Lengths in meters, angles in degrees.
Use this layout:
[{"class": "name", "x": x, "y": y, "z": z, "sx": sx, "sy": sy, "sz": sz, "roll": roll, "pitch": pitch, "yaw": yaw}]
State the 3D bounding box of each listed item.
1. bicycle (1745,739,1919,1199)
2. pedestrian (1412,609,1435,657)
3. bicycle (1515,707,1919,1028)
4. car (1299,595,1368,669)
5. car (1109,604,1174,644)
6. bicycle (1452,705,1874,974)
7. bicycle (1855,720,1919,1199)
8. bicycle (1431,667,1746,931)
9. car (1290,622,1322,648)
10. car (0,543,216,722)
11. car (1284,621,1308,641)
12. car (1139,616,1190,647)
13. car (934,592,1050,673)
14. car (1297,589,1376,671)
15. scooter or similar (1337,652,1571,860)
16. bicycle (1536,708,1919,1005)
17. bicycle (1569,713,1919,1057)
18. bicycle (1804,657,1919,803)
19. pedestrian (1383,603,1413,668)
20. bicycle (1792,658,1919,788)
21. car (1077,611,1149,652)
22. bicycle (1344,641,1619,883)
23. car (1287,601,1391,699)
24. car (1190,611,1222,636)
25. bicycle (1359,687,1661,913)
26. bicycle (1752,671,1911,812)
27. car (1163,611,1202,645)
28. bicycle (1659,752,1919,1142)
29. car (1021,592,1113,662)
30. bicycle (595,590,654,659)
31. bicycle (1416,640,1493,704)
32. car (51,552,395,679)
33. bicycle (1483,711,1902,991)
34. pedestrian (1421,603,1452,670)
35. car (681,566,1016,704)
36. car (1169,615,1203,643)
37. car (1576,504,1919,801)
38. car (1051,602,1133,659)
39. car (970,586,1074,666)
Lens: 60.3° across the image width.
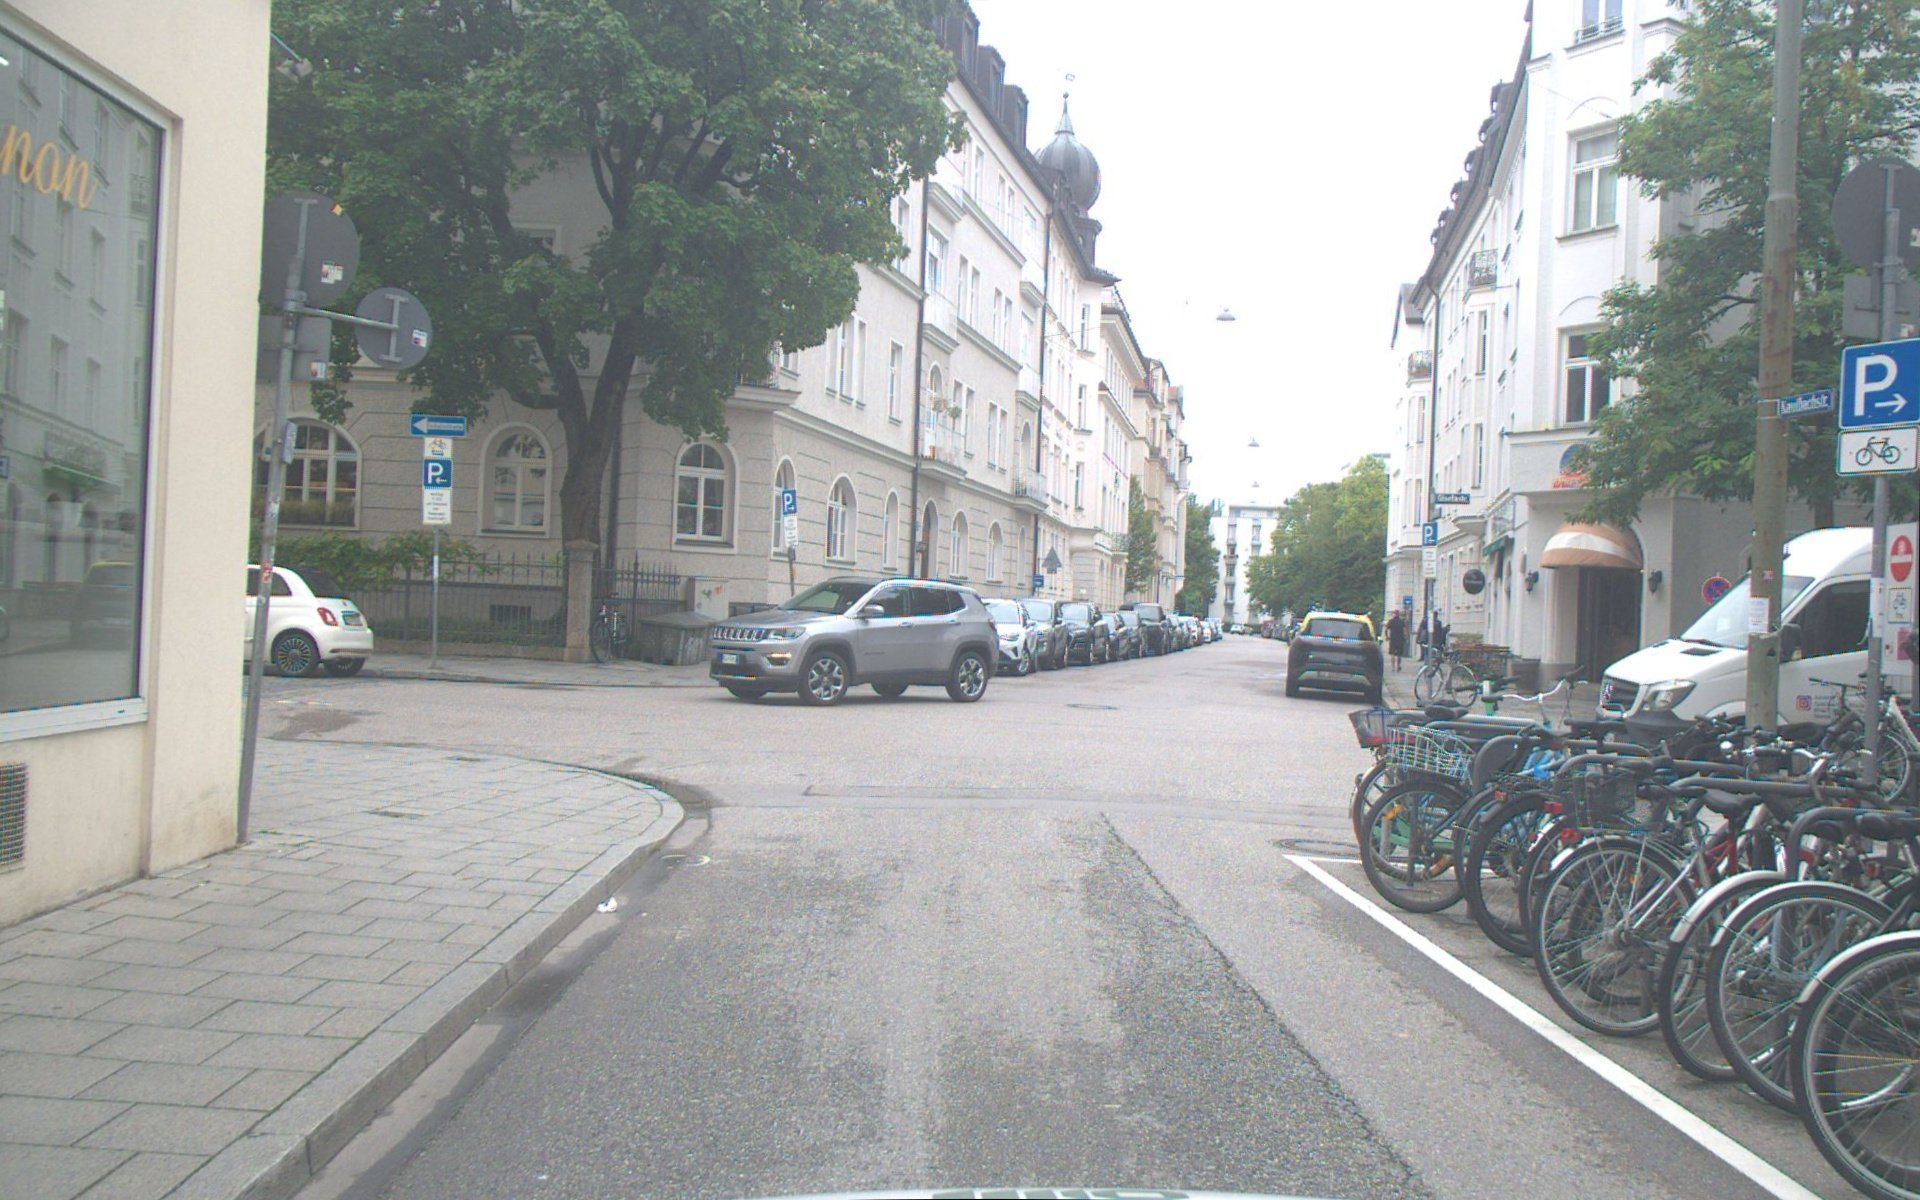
[{"class": "bicycle", "x": 3.115, "y": 0.980, "z": 4.410, "sx": 1.837, "sy": 1.114, "sz": 0.439, "roll": 2, "pitch": 1, "yaw": -5}, {"class": "pedestrian", "x": 18.517, "y": 1.307, "z": 66.086, "sx": 0.762, "sy": 1.883, "sz": 0.859, "roll": 2, "pitch": 0, "yaw": 20}, {"class": "bicycle", "x": 3.092, "y": 1.004, "z": 6.250, "sx": 1.837, "sy": 1.098, "sz": 0.408, "roll": 2, "pitch": 1, "yaw": -5}, {"class": "car", "x": 10.910, "y": 0.918, "z": 48.439, "sx": 1.782, "sy": 1.956, "sz": 4.187, "roll": 4, "pitch": 0, "yaw": 12}, {"class": "car", "x": 6.676, "y": 0.866, "z": 60.559, "sx": 1.866, "sy": 1.352, "sz": 4.003, "roll": 2, "pitch": 0, "yaw": 13}, {"class": "bicycle", "x": 3.164, "y": 1.071, "z": 7.491, "sx": 1.706, "sy": 1.098, "sz": 0.452, "roll": 2, "pitch": 1, "yaw": -5}, {"class": "bicycle", "x": 3.167, "y": 0.920, "z": 3.869, "sx": 1.856, "sy": 1.190, "sz": 0.565, "roll": 2, "pitch": 0, "yaw": -4}, {"class": "bicycle", "x": 3.136, "y": 0.990, "z": 8.274, "sx": 1.424, "sy": 1.228, "sz": 0.394, "roll": 3, "pitch": 0, "yaw": -9}, {"class": "car", "x": 20.990, "y": 2.114, "z": 100.425, "sx": 1.693, "sy": 1.442, "sz": 3.855, "roll": 2, "pitch": 0, "yaw": 10}, {"class": "car", "x": -10.136, "y": 0.229, "z": 16.804, "sx": 4.245, "sy": 1.541, "sz": 1.904, "roll": 3, "pitch": 4, "yaw": 1}, {"class": "car", "x": 29.450, "y": 2.681, "z": 145.183, "sx": 1.908, "sy": 1.681, "sz": 4.003, "roll": 1, "pitch": -1, "yaw": 10}, {"class": "car", "x": 8.947, "y": 1.366, "z": 72.175, "sx": 1.866, "sy": 1.243, "sz": 4.003, "roll": 2, "pitch": 0, "yaw": 11}, {"class": "car", "x": 0.742, "y": 0.650, "z": 34.668, "sx": 1.951, "sy": 1.499, "sz": 4.221, "roll": 2, "pitch": 0, "yaw": 7}, {"class": "car", "x": 9.829, "y": 0.769, "z": 43.301, "sx": 1.782, "sy": 1.903, "sz": 4.292, "roll": 4, "pitch": 0, "yaw": 12}, {"class": "scooter or similar", "x": 3.132, "y": 0.980, "z": 10.531, "sx": 1.325, "sy": 1.231, "sz": 0.417, "roll": 2, "pitch": 0, "yaw": 0}, {"class": "bicycle", "x": 3.197, "y": 1.029, "z": 6.692, "sx": 1.581, "sy": 1.098, "sz": 0.377, "roll": 2, "pitch": 1, "yaw": -5}, {"class": "bicycle", "x": 3.139, "y": 0.995, "z": 5.812, "sx": 1.837, "sy": 1.098, "sz": 0.402, "roll": 2, "pitch": 1, "yaw": -5}, {"class": "bicycle", "x": 8.155, "y": 1.102, "z": 13.808, "sx": 1.861, "sy": 1.147, "sz": 0.592, "roll": 2, "pitch": 0, "yaw": 3}, {"class": "pedestrian", "x": 12.953, "y": 1.044, "z": 48.921, "sx": 0.761, "sy": 1.883, "sz": 1.023, "roll": 2, "pitch": 0, "yaw": 13}, {"class": "bicycle", "x": 8.291, "y": 1.106, "z": 14.819, "sx": 1.472, "sy": 1.090, "sz": 0.370, "roll": 2, "pitch": 0, "yaw": -2}, {"class": "car", "x": 5.222, "y": 1.041, "z": 55.959, "sx": 1.866, "sy": 1.243, "sz": 4.003, "roll": 2, "pitch": 0, "yaw": 13}, {"class": "bicycle", "x": 3.053, "y": 0.937, "z": 9.732, "sx": 1.427, "sy": 1.307, "sz": 0.445, "roll": 3, "pitch": 0, "yaw": 0}, {"class": "car", "x": 7.498, "y": 0.949, "z": 32.869, "sx": 1.782, "sy": 1.664, "sz": 4.292, "roll": 4, "pitch": 0, "yaw": 12}, {"class": "car", "x": 16.394, "y": 1.552, "z": 110.098, "sx": 1.951, "sy": 1.601, "sz": 4.003, "roll": 2, "pitch": 0, "yaw": 9}, {"class": "bicycle", "x": 2.890, "y": 1.046, "z": 8.718, "sx": 1.424, "sy": 1.088, "sz": 0.462, "roll": 3, "pitch": 0, "yaw": -9}, {"class": "bicycle", "x": 7.587, "y": 1.222, "z": 14.415, "sx": 1.153, "sy": 1.147, "sz": 0.340, "roll": 2, "pitch": 0, "yaw": 5}, {"class": "car", "x": 11.245, "y": 1.383, "z": 83.535, "sx": 1.781, "sy": 1.601, "sz": 4.003, "roll": 2, "pitch": 0, "yaw": 9}, {"class": "bicycle", "x": 3.192, "y": 1.054, "z": 5.115, "sx": 1.837, "sy": 1.070, "sz": 0.563, "roll": 2, "pitch": -2, "yaw": -5}, {"class": "car", "x": 2.910, "y": 0.696, "z": 44.102, "sx": 1.951, "sy": 1.705, "sz": 4.292, "roll": 2, "pitch": 0, "yaw": 10}, {"class": "bicycle", "x": -5.700, "y": 0.400, "z": 28.138, "sx": 0.483, "sy": 1.070, "sz": 1.828, "roll": 2, "pitch": 2, "yaw": 4}, {"class": "bicycle", "x": 8.606, "y": 1.240, "z": 28.837, "sx": 0.529, "sy": 1.016, "sz": 1.751, "roll": -1, "pitch": 0, "yaw": -11}, {"class": "car", "x": -10.032, "y": 0.207, "z": 22.677, "sx": 3.903, "sy": 1.474, "sz": 1.686, "roll": 3, "pitch": 0, "yaw": 4}, {"class": "bicycle", "x": 3.119, "y": 1.067, "z": 7.075, "sx": 1.641, "sy": 1.098, "sz": 0.336, "roll": 2, "pitch": 1, "yaw": -5}, {"class": "pedestrian", "x": 13.898, "y": 1.057, "z": 48.287, "sx": 0.761, "sy": 1.883, "sz": 1.023, "roll": 2, "pitch": 0, "yaw": 13}, {"class": "car", "x": -1.393, "y": 0.457, "z": 22.047, "sx": 1.930, "sy": 1.636, "sz": 4.280, "roll": 2, "pitch": 0, "yaw": 43}, {"class": "car", "x": 12.238, "y": 1.551, "z": 89.417, "sx": 1.697, "sy": 1.444, "sz": 4.003, "roll": 2, "pitch": 0, "yaw": 9}, {"class": "car", "x": 9.360, "y": 0.528, "z": 16.227, "sx": 5.770, "sy": 2.636, "sz": 2.061, "roll": 2, "pitch": 1, "yaw": 3}, {"class": "car", "x": 4.057, "y": 0.908, "z": 50.270, "sx": 1.885, "sy": 1.573, "sz": 4.003, "roll": 3, "pitch": 0, "yaw": 13}, {"class": "car", "x": 1.534, "y": 0.597, "z": 39.237, "sx": 1.951, "sy": 1.705, "sz": 4.015, "roll": 2, "pitch": 0, "yaw": 9}]
